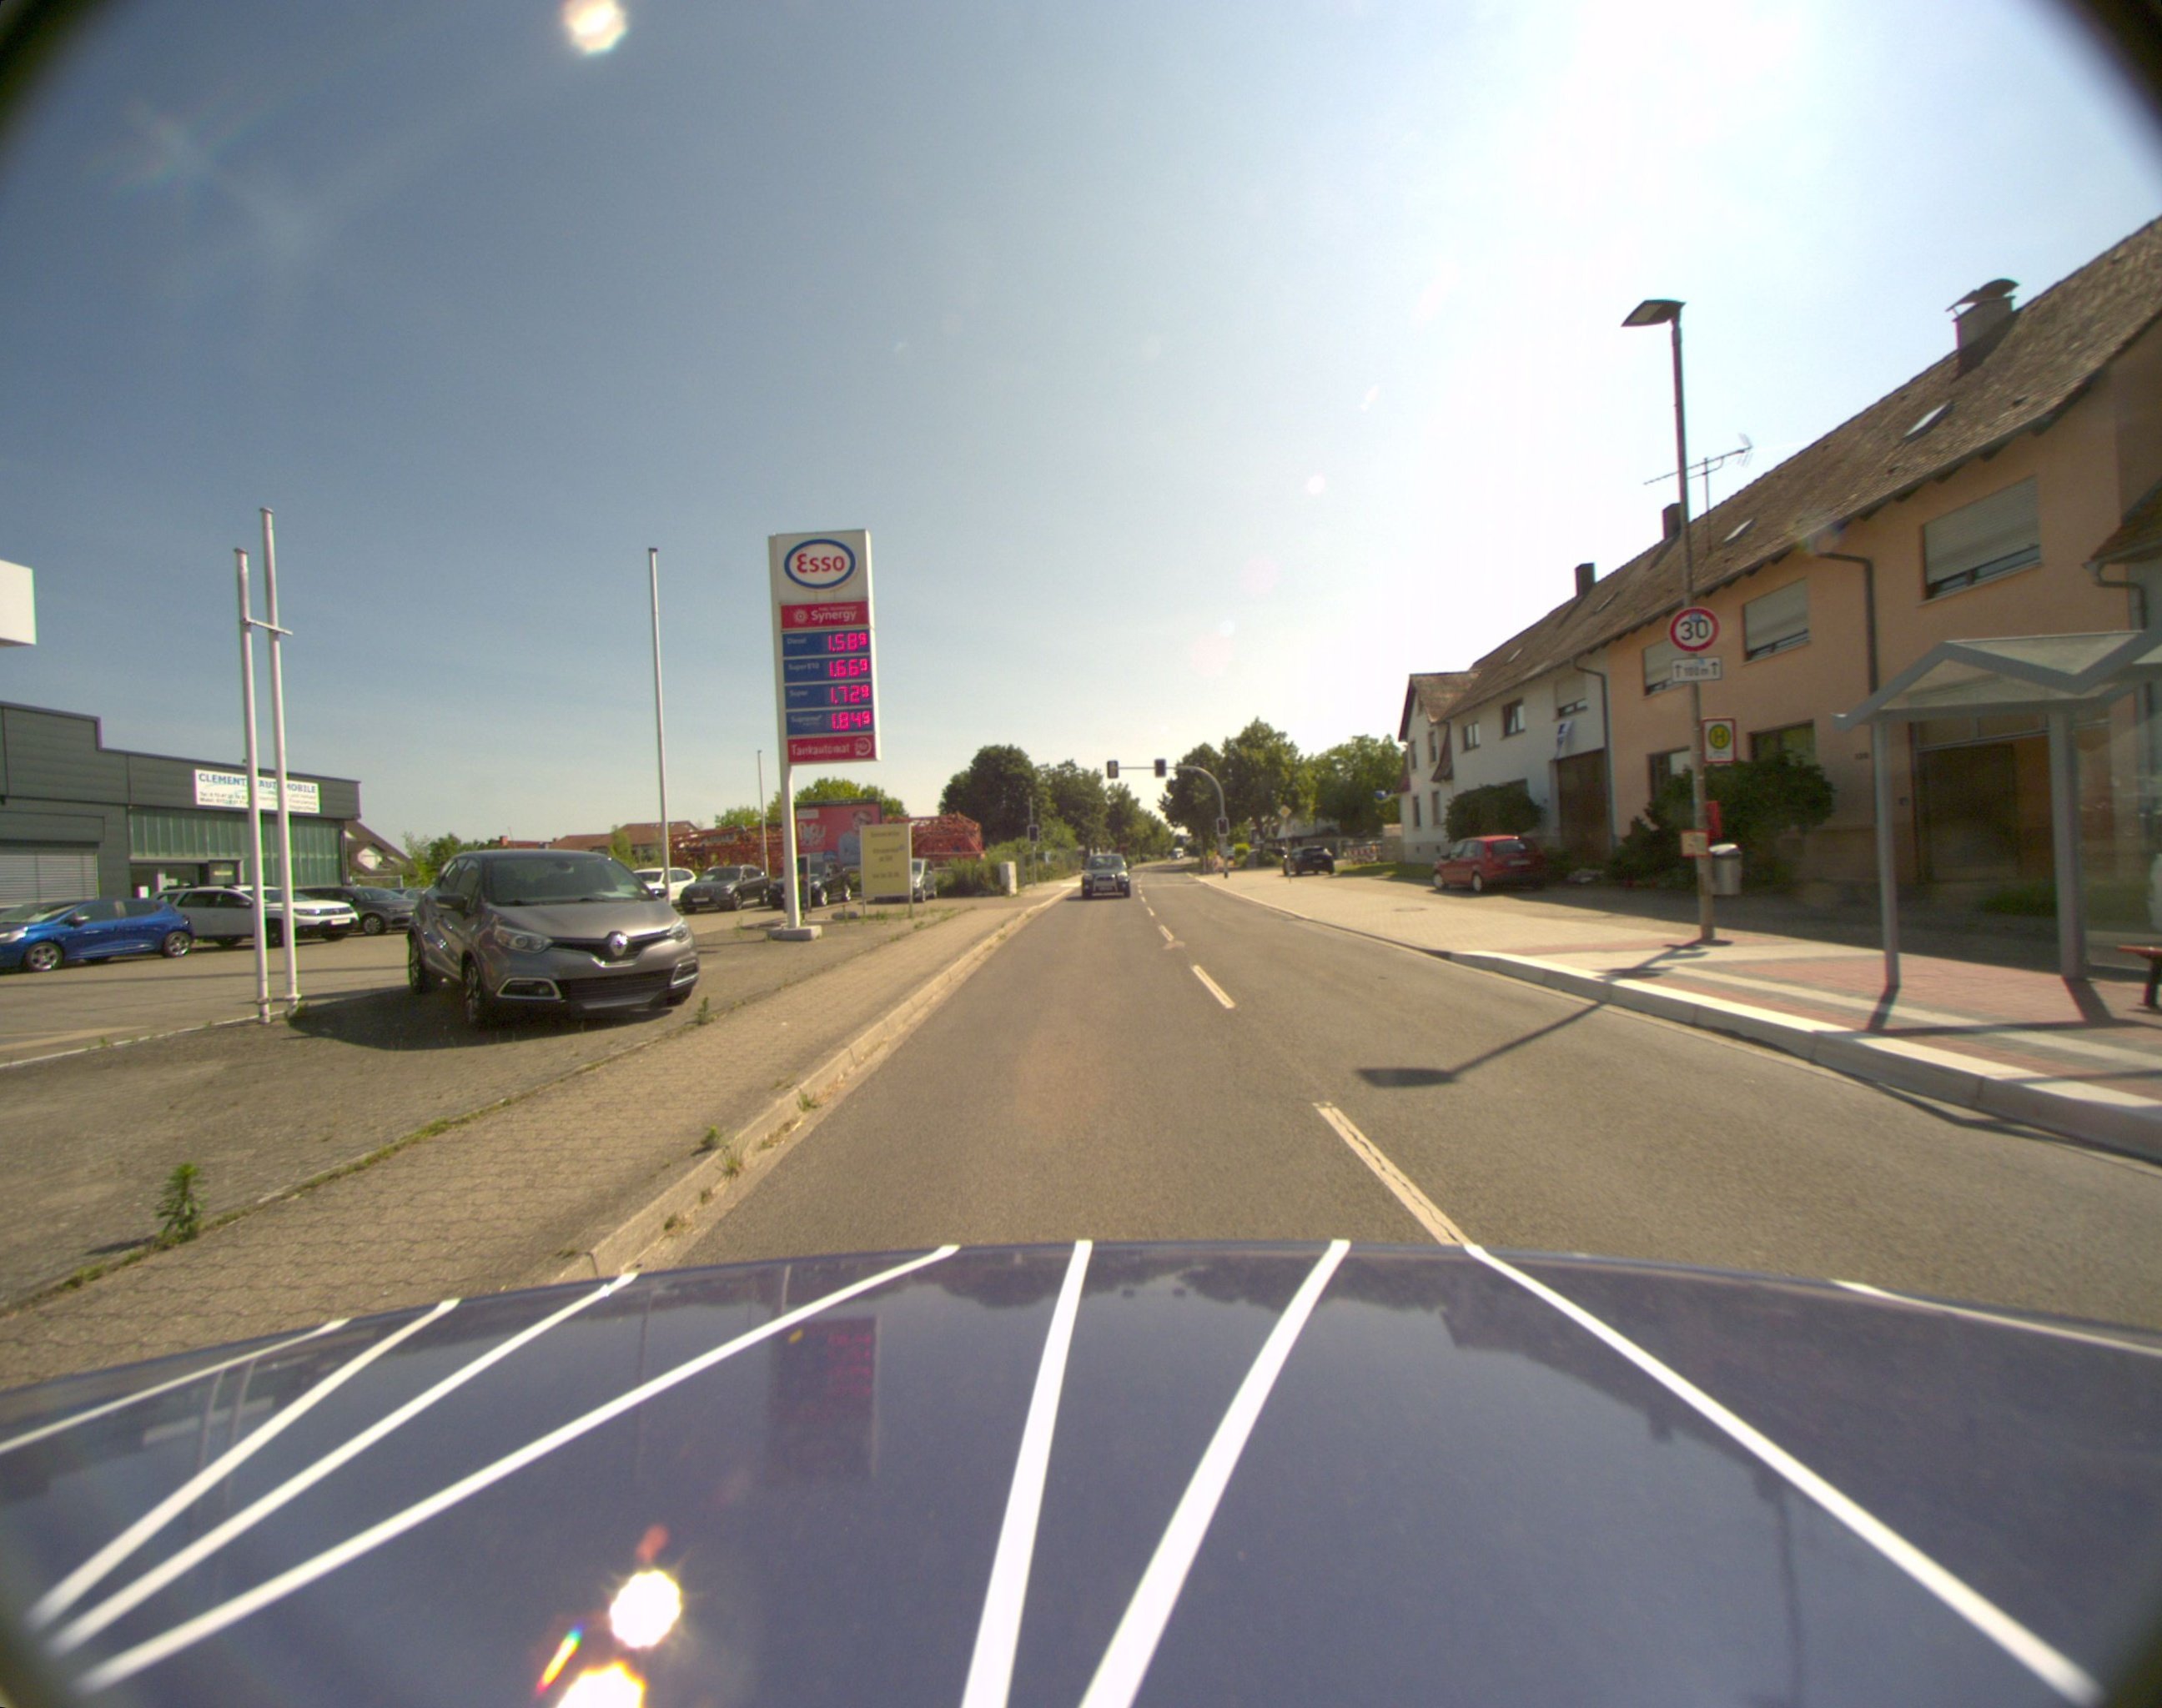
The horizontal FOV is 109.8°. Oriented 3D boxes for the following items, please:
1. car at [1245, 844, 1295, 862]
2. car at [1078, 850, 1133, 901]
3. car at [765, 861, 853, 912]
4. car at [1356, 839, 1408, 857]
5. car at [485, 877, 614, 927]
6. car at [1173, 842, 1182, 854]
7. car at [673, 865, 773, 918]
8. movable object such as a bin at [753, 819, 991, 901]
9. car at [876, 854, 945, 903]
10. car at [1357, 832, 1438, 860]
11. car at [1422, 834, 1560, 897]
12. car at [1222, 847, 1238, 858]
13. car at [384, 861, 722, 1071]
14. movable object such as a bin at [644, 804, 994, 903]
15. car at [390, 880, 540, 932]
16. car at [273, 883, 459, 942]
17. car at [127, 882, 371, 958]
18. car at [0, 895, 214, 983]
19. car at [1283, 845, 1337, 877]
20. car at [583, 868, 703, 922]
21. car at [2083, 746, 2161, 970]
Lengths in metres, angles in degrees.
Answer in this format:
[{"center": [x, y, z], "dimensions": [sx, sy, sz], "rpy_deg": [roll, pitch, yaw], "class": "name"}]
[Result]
[{"center": [17.511, -0.093, 70.584], "dimensions": [3.989, 1.496, 2.004], "rpy_deg": [-2, 0, 36], "class": "car"}, {"center": [1.004, 0.800, 29.349], "dimensions": [1.848, 1.686, 4.400], "rpy_deg": [-4, -1, 4], "class": "car"}, {"center": [-9.714, 1.109, 27.471], "dimensions": [1.975, 1.583, 3.998], "rpy_deg": [-3, 1, -5], "class": "car"}, {"center": [27.694, -0.568, 70.062], "dimensions": [3.996, 1.496, 2.000], "rpy_deg": [-2, 0, 3], "class": "car"}, {"center": [-18.268, 1.589, 26.376], "dimensions": [1.846, 1.379, 3.998], "rpy_deg": [-3, 1, -5], "class": "car"}, {"center": [22.310, -1.434, 175.870], "dimensions": [1.937, 2.488, 5.840], "rpy_deg": [-2, 1, 8], "class": "car"}, {"center": [-12.766, 1.273, 27.393], "dimensions": [1.846, 1.583, 4.103], "rpy_deg": [-3, 1, -5], "class": "car"}, {"center": [-12.300, 0.355, 45.466], "dimensions": [13.286, 4.141, 2.863], "rpy_deg": [-2, 1, 1], "class": "movable object such as a bin"}, {"center": [-6.449, 0.913, 29.150], "dimensions": [1.809, 1.676, 4.368], "rpy_deg": [-1, -1, -3], "class": "car"}, {"center": [25.641, -0.648, 61.675], "dimensions": [5.623, 2.033, 2.000], "rpy_deg": [-2, 0, 2], "class": "car"}, {"center": [10.951, 0.306, 20.632], "dimensions": [1.718, 1.444, 3.916], "rpy_deg": [-4, -1, 3], "class": "car"}, {"center": [21.722, -0.279, 110.896], "dimensions": [1.997, 1.496, 4.002], "rpy_deg": [-2, 0, 7], "class": "car"}, {"center": [-5.523, 0.860, 7.739], "dimensions": [4.170, 1.546, 1.778], "rpy_deg": [0, 0, 40], "class": "car"}, {"center": [-12.595, -0.014, 37.370], "dimensions": [16.091, 3.995, 2.773], "rpy_deg": [-2, 1, 1], "class": "movable object such as a bin"}, {"center": [-21.256, 1.742, 26.495], "dimensions": [1.846, 1.379, 4.374], "rpy_deg": [-3, 1, -5], "class": "car"}, {"center": [-21.292, 1.710, 22.746], "dimensions": [3.688, 1.465, 1.811], "rpy_deg": [-3, 1, -3], "class": "car"}, {"center": [-21.540, 1.668, 19.831], "dimensions": [4.152, 1.624, 1.811], "rpy_deg": [-3, 1, -3], "class": "car"}, {"center": [-21.518, 1.749, 16.110], "dimensions": [1.798, 1.423, 4.124], "rpy_deg": [-3, 1, -8], "class": "car"}, {"center": [11.527, 0.301, 38.550], "dimensions": [1.718, 1.399, 4.398], "rpy_deg": [-2, 1, 5], "class": "car"}, {"center": [-15.560, 1.408, 27.310], "dimensions": [2.004, 1.583, 4.336], "rpy_deg": [-3, 1, -5], "class": "car"}, {"center": [10.570, 0.006, 4.567], "dimensions": [2.131, 1.975, 5.264], "rpy_deg": [-3, 1, 1], "class": "car"}]
